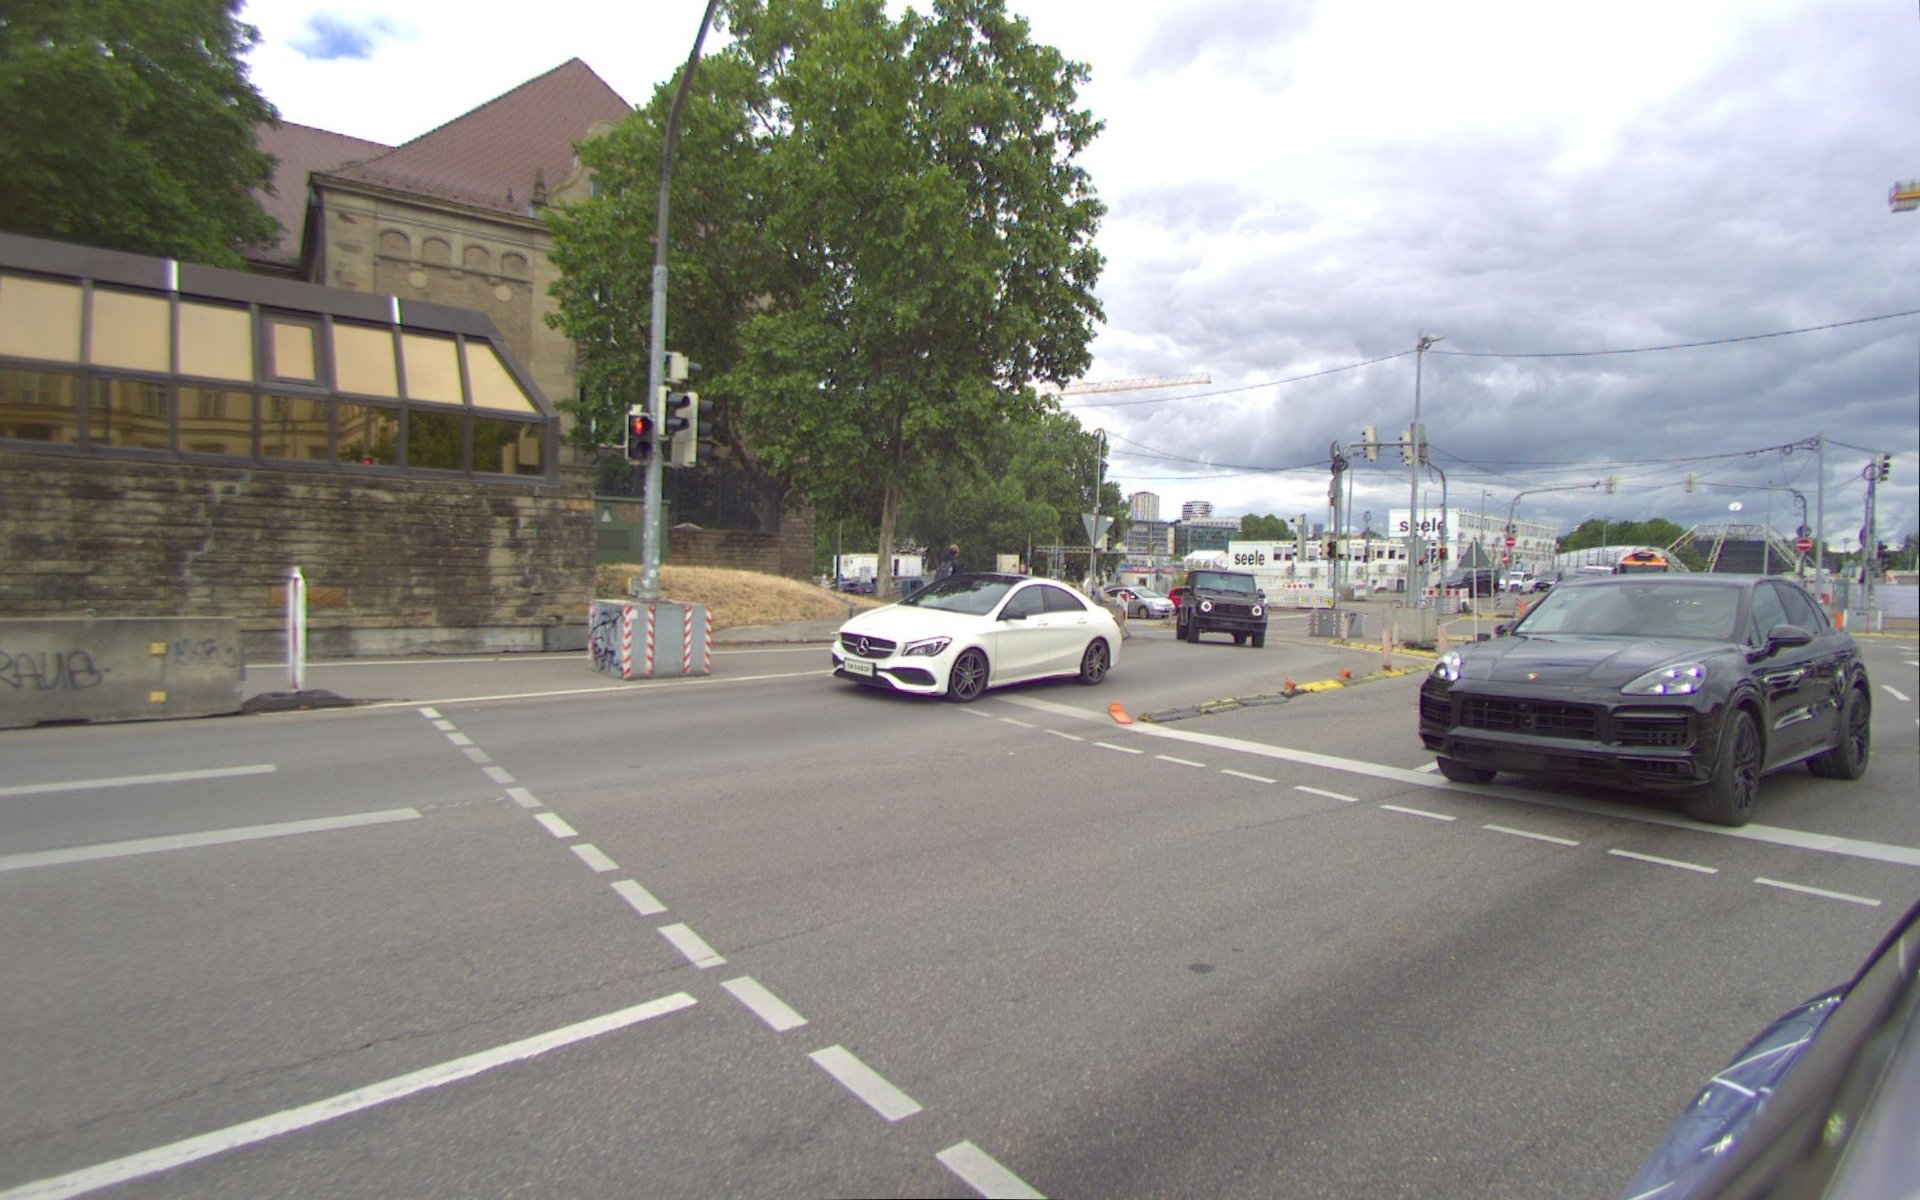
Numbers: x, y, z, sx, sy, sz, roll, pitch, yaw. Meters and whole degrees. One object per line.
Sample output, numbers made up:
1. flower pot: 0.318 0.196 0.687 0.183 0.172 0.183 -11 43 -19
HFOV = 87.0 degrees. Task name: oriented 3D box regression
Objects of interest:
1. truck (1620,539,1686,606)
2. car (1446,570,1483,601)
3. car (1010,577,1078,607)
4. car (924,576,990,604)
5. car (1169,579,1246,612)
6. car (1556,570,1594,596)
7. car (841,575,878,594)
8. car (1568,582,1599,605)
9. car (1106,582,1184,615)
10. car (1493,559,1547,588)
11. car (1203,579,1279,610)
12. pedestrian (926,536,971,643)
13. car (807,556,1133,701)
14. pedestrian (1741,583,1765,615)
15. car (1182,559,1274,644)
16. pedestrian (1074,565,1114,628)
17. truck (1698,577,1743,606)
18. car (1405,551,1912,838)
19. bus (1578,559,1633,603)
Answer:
1. truck: 42.019 -1.710 61.581 2.890 3.720 8.923 3 3 33
2. car: 35.684 -1.029 71.540 1.985 2.038 3.955 3 2 32
3. car: 4.457 -0.446 53.985 1.635 1.453 3.444 1 1 -39
4. car: -0.216 -0.617 60.480 1.806 1.588 3.996 -2 2 -39
5. car: 12.115 -0.255 49.713 1.660 1.453 3.446 -2 3 -37
6. car: 37.690 -1.057 61.979 1.774 1.453 4.020 3 2 33
7. car: -9.230 -1.445 92.472 1.906 1.688 3.645 0 1 -32
8. car: 41.256 -0.460 66.955 1.641 1.453 3.576 3 2 33
9. car: 8.874 -0.094 48.742 1.636 1.453 3.443 -3 2 -39
10. car: 41.933 -1.982 75.730 4.087 2.038 2.000 1 2 -37
11. car: 14.294 -0.329 51.619 1.663 1.453 3.446 -2 3 -37
12. pedestrian: -0.215 -0.210 19.844 0.615 2.038 0.845 1 1 21
13. car: 0.299 0.277 12.837 1.733 1.453 4.317 5 3 40
14. pedestrian: 40.010 -0.051 51.068 0.844 1.612 0.616 1 1 31
15. car: 6.944 0.002 26.563 1.908 1.961 3.662 4 1 10
16. pedestrian: 4.438 -0.129 33.503 1.186 2.038 1.190 1 1 13
17. truck: 43.192 -0.489 57.548 1.815 1.559 3.715 3 2 34
18. car: 5.680 0.583 8.025 4.521 1.668 1.957 1 -1 -36
19. bus: 51.680 -1.476 80.914 2.799 3.208 9.273 3 2 38
